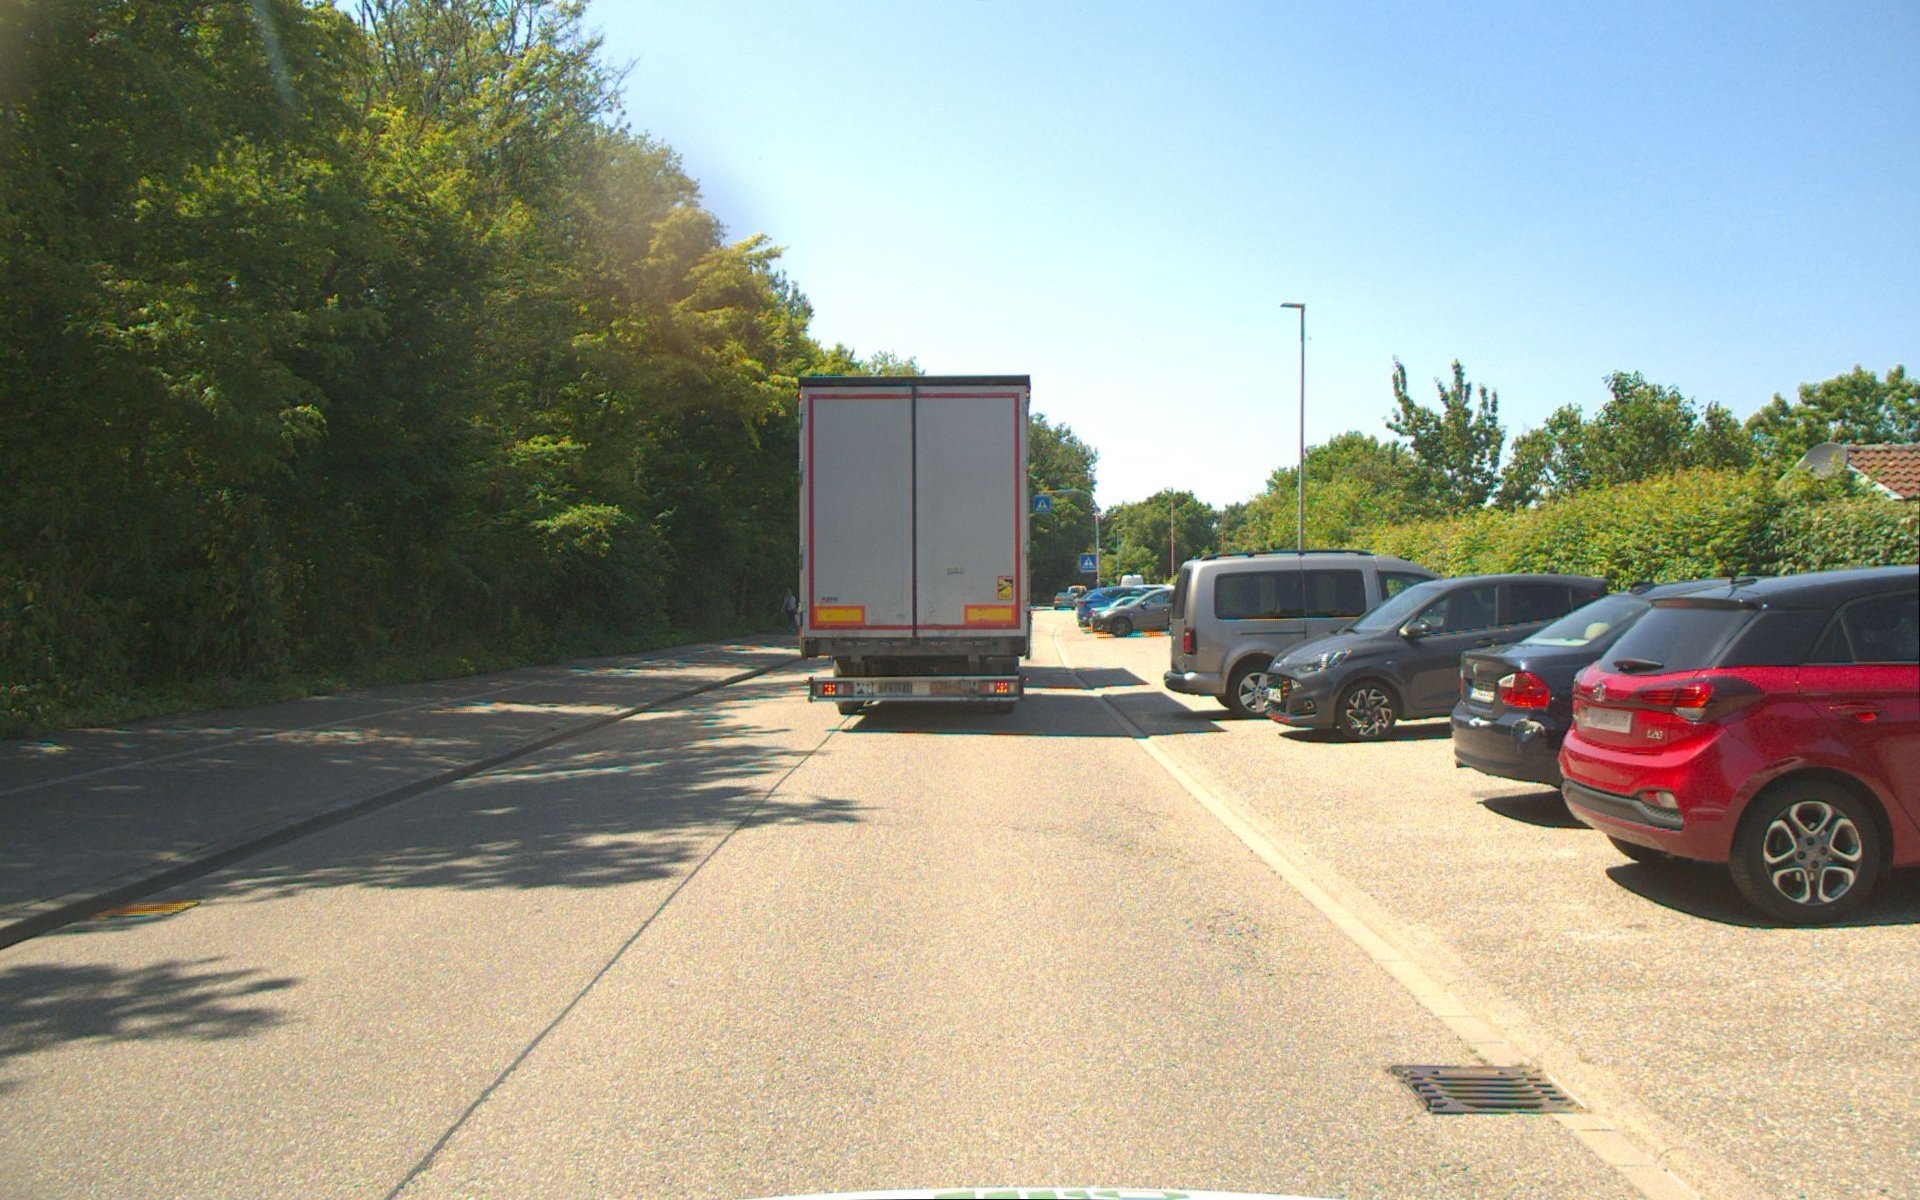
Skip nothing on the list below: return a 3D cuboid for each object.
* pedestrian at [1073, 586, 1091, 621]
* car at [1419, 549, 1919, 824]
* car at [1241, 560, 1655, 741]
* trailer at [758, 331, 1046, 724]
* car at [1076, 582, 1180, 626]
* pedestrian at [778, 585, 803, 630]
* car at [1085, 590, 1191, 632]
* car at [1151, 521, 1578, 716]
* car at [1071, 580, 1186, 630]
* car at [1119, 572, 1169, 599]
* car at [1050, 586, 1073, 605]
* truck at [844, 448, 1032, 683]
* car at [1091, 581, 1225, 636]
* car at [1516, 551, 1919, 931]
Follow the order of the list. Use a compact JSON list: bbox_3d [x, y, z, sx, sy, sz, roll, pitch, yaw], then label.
[{"bbox_3d":[6.776,0.198,91.750,0.804,1.866,0.793,-3,-1,9],"label":"pedestrian"},{"bbox_3d":[5.362,0.468,10.837,4.119,1.412,1.840,-4,1,-1],"label":"car"},{"bbox_3d":[4.791,0.465,16.571,3.506,1.528,1.840,-3,0,-5],"label":"car"},{"bbox_3d":[-0.472,-0.795,23.368,3.048,4.174,11.539,0,0,1],"label":"trailer"},{"bbox_3d":[6.893,0.196,68.227,4.148,1.683,1.900,-1,-1,2],"label":"car"},{"bbox_3d":[-6.357,0.289,61.905,0.811,1.651,0.783,1,0,1],"label":"pedestrian"},{"bbox_3d":[6.367,0.399,59.422,3.656,1.290,1.628,-3,0,4],"label":"car"},{"bbox_3d":[4.690,0.199,19.717,4.526,1.880,1.996,-4,1,1],"label":"car"},{"bbox_3d":[6.321,0.188,62.250,4.150,1.662,1.823,-3,0,2],"label":"car"},{"bbox_3d":[14.751,-1.169,132.683,3.872,1.829,1.814,-3,-2,6],"label":"car"},{"bbox_3d":[8.304,-0.384,135.430,1.744,1.512,4.001,0,0,2],"label":"car"},{"bbox_3d":[-0.263,-0.585,30.020,3.049,3.790,6.415,0,0,2],"label":"truck"},{"bbox_3d":[6.342,0.263,53.243,4.077,1.521,1.883,-3,0,2],"label":"car"},{"bbox_3d":[4.966,0.516,8.026,3.839,1.504,1.845,-4,1,0],"label":"car"}]
